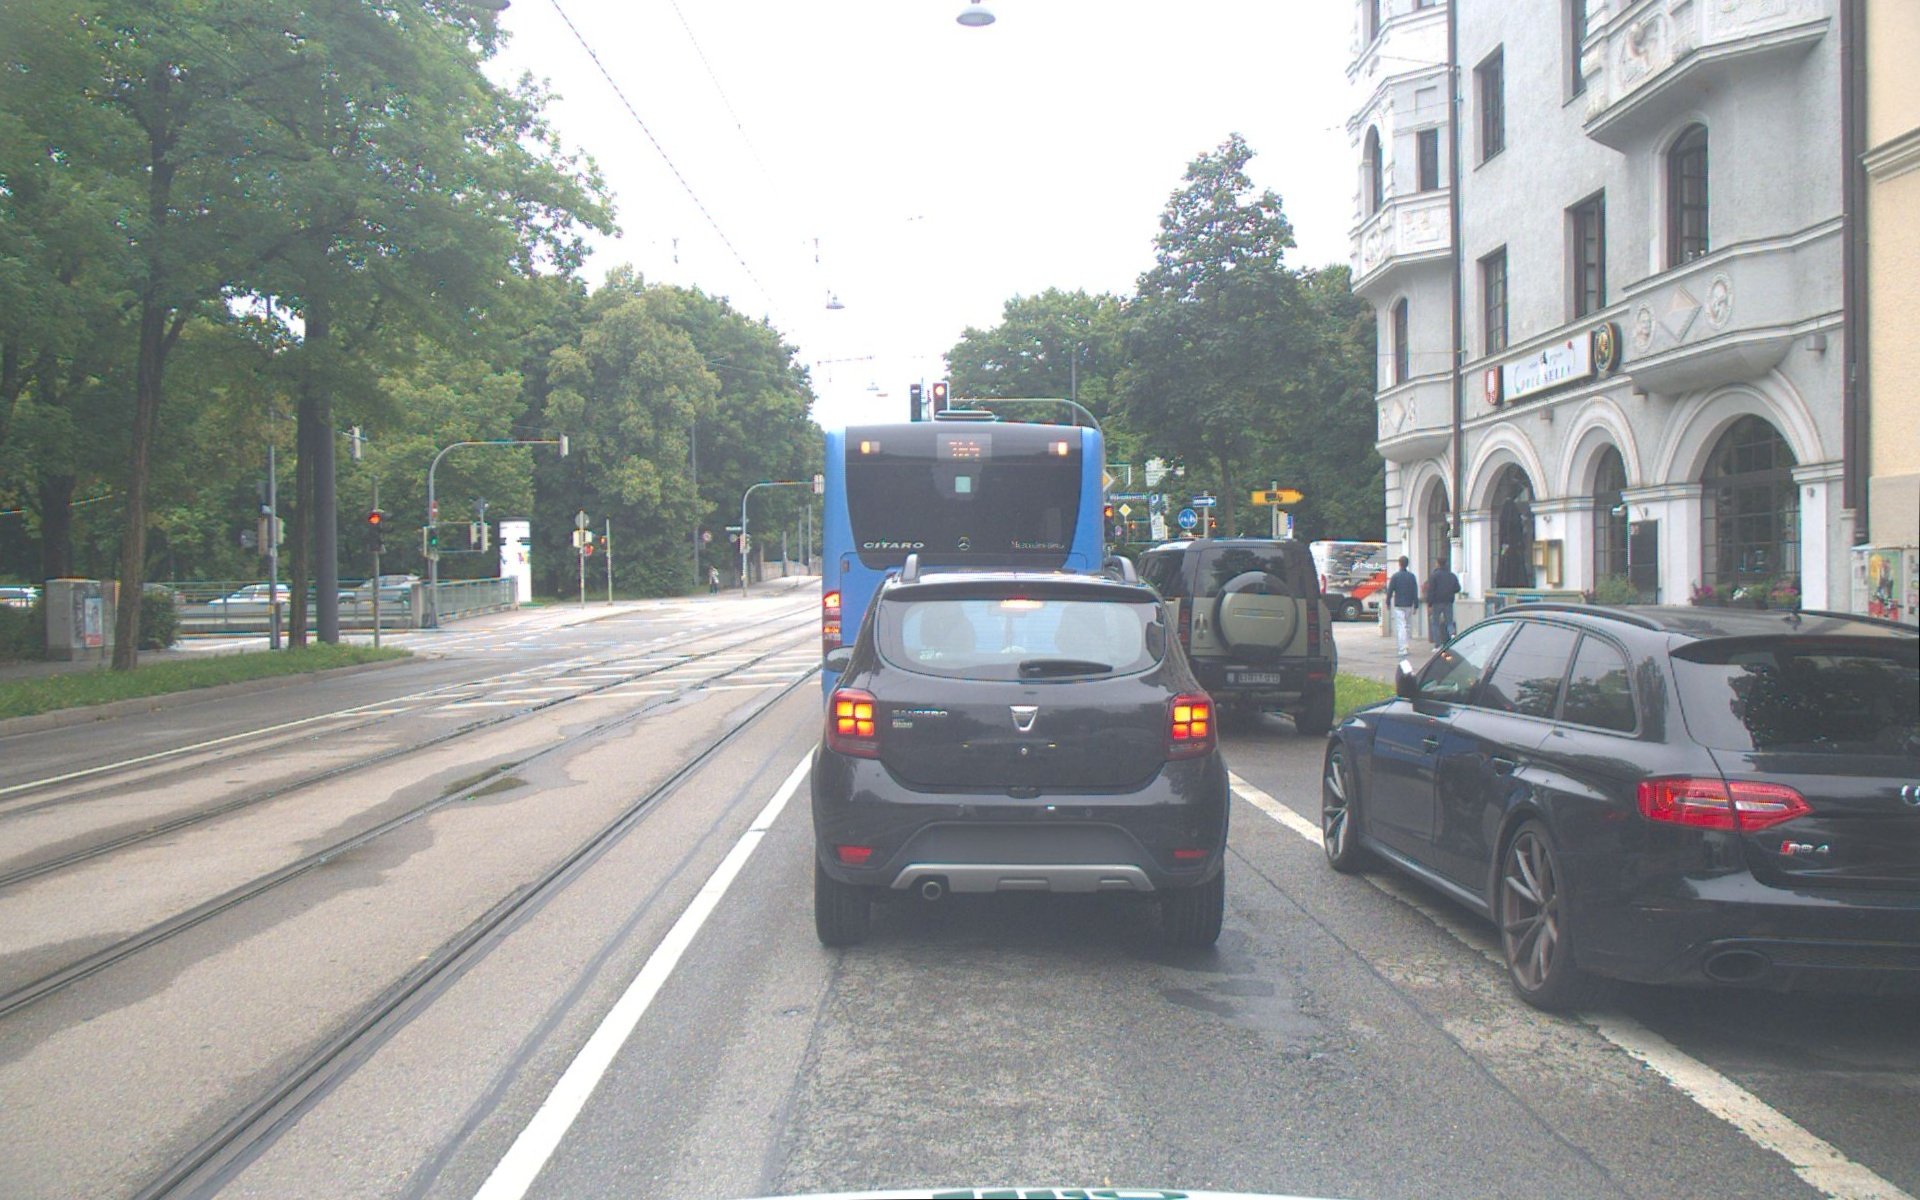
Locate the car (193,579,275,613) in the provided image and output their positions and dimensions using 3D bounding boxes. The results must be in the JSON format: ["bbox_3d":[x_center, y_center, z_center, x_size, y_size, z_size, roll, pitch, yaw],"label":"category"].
[{"bbox_3d":[-32.207,-0.190,73.398,3.050,1.477,1.249,1,0,-6],"label":"car"}]

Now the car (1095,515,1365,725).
[{"bbox_3d":[2.721,0.165,17.810,1.876,1.939,4.805,1,0,-3],"label":"car"}]

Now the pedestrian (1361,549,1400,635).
[{"bbox_3d":[10.167,-0.190,39.983,0.700,2.049,0.674,-1,0,-4],"label":"pedestrian"}]

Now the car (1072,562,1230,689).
[{"bbox_3d":[2.625,0.313,23.613,1.679,1.619,4.326,1,0,-1],"label":"car"}]

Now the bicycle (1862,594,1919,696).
[{"bbox_3d":[10.029,0.465,17.527,0.237,1.057,1.223,1,0,-1],"label":"bicycle"}]

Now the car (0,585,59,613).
[{"bbox_3d":[-41.770,-0.049,72.646,3.656,1.206,1.249,1,0,-6],"label":"car"}]

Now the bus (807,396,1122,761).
[{"bbox_3d":[-0.113,-0.210,17.458,2.625,3.050,6.957,1,0,-3],"label":"bus"}]

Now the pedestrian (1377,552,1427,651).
[{"bbox_3d":[8.413,0.024,31.478,0.690,1.848,0.869,1,0,-1],"label":"pedestrian"}]

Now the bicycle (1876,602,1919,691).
[{"bbox_3d":[10.435,0.502,18.124,0.285,0.947,0.886,1,0,0],"label":"bicycle"}]

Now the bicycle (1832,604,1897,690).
[{"bbox_3d":[10.419,0.530,19.061,0.254,0.947,0.886,1,0,0],"label":"bicycle"}]

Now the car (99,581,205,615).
[{"bbox_3d":[-35.691,-0.110,73.135,3.848,1.429,1.719,1,0,-5],"label":"car"}]

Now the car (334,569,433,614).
[{"bbox_3d":[-25.660,-0.375,73.705,3.946,1.920,1.488,1,0,-8],"label":"car"}]

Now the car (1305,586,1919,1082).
[{"bbox_3d":[2.878,0.679,7.194,1.681,1.451,4.601,1,0,-1],"label":"car"}]

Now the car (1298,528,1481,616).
[{"bbox_3d":[13.624,-0.869,52.642,5.191,2.658,2.229,1,0,-4],"label":"car"}]

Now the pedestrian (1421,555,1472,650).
[{"bbox_3d":[9.181,0.043,31.249,0.690,1.762,0.843,1,0,-1],"label":"pedestrian"}]

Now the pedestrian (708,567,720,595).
[{"bbox_3d":[-13.245,-1.012,89.198,0.520,1.527,0.588,1,0,4],"label":"pedestrian"}]

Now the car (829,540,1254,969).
[{"bbox_3d":[0.265,0.564,7.929,1.568,1.584,3.524,1,0,-1],"label":"car"}]
